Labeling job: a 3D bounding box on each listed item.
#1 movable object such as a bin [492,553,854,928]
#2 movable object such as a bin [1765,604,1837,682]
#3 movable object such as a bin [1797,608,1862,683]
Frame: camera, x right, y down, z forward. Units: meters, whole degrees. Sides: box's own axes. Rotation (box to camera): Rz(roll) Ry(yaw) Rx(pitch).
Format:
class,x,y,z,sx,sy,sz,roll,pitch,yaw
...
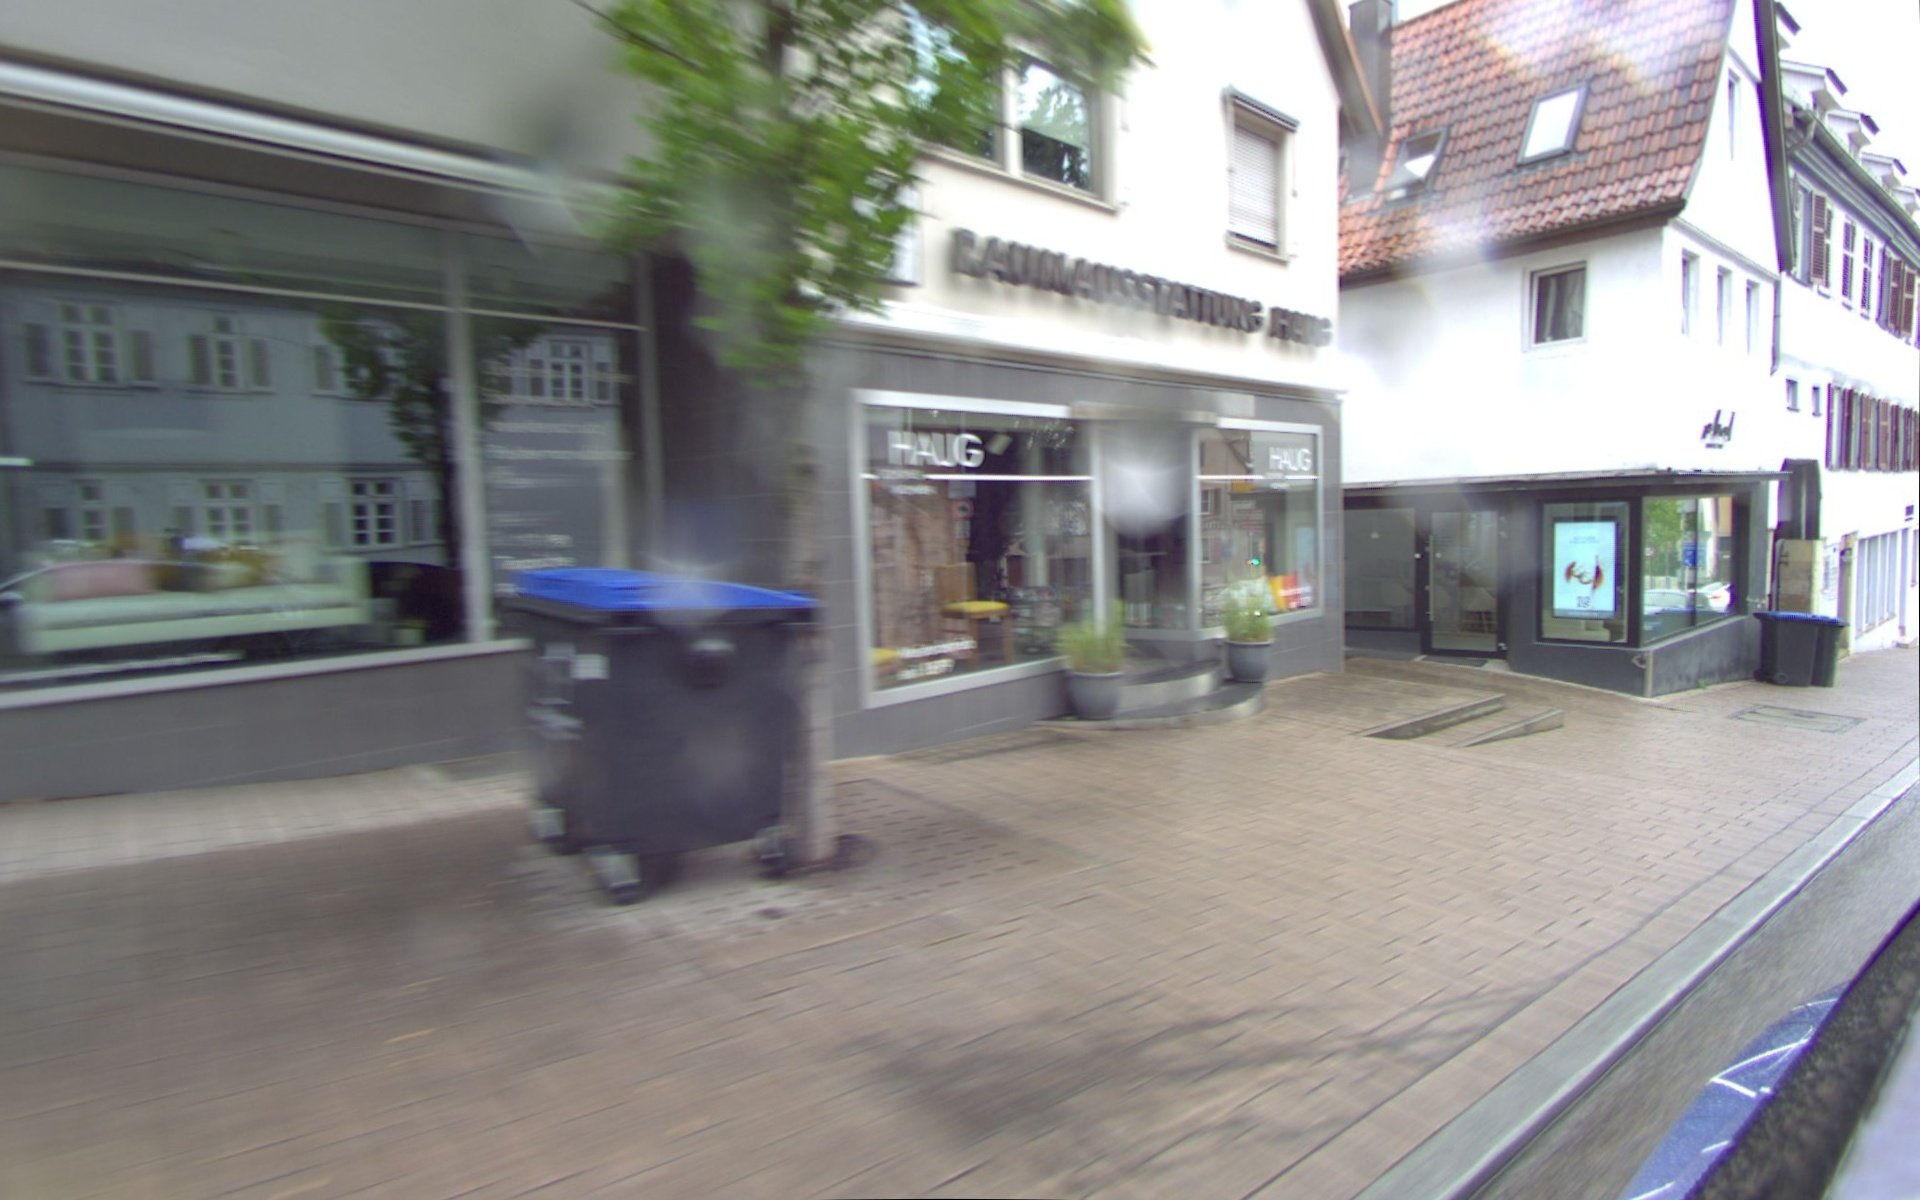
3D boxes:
class,x,y,z,sx,sy,sz,roll,pitch,yaw
movable object such as a bin,-1.320,0.499,4.565,1.151,1.351,1.238,0,3,-39
movable object such as a bin,12.109,0.611,14.579,0.561,1.040,0.468,3,3,9
movable object such as a bin,12.982,0.672,15.116,0.468,1.040,0.597,0,4,-39
